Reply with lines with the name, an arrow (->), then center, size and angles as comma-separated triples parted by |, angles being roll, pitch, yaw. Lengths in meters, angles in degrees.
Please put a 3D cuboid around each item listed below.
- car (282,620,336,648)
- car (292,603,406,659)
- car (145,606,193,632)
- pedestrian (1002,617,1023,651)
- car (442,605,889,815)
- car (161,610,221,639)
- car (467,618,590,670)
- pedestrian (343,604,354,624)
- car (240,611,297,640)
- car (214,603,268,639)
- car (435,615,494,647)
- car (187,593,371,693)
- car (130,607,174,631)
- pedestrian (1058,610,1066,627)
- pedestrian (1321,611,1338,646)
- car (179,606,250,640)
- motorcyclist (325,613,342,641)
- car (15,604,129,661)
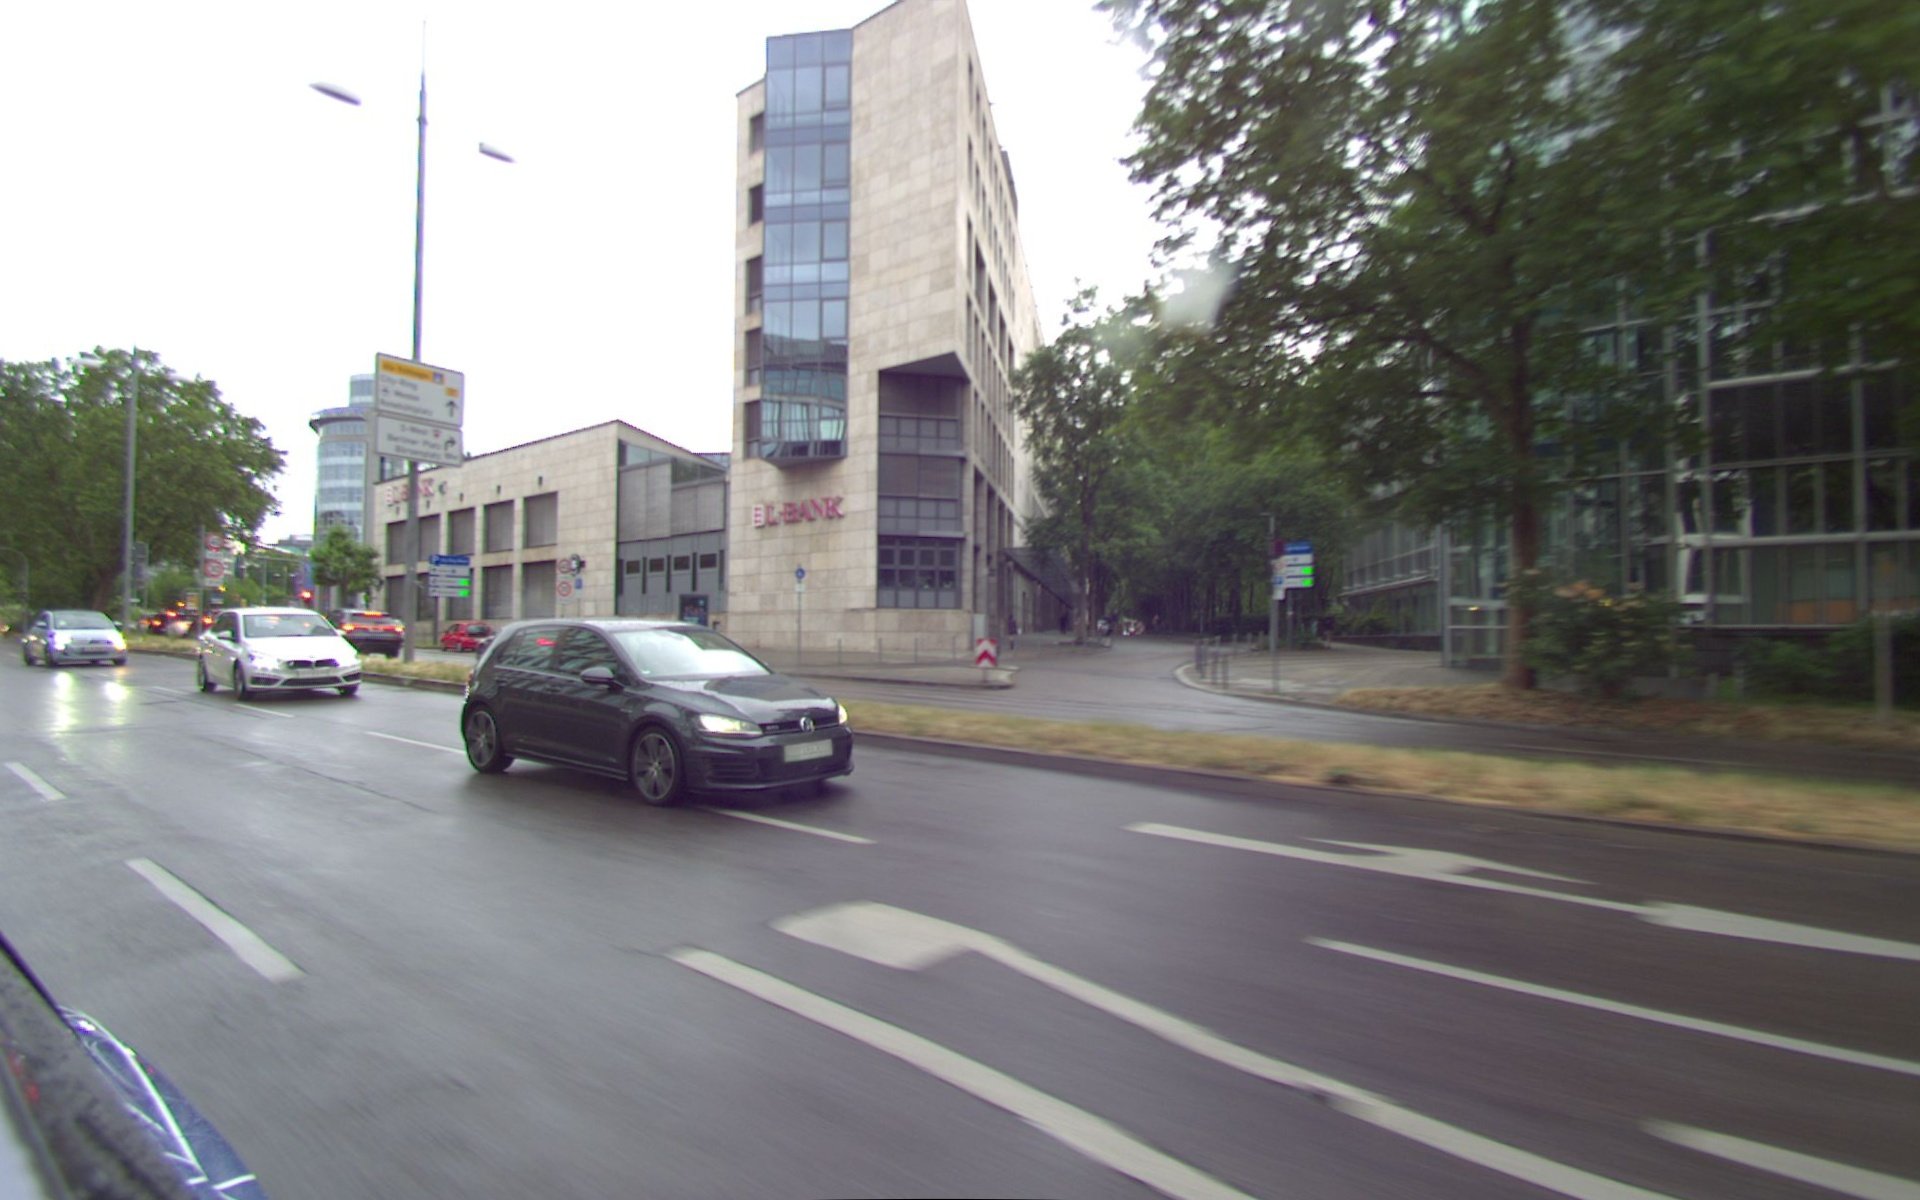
car -> -38.733, 1.996, 60.153 | 4.642, 1.544, 1.707 | 0, -1, 45
car -> -20.268, 0.983, 33.490 | 4.678, 1.693, 1.854 | 0, -1, 41
car -> -45.207, 1.058, 57.808 | 1.727, 1.375, 3.947 | 2, -1, -44
pedestrian -> 2.441, 1.570, 46.978 | 0.815, 1.582, 0.664 | -1, -2, 19
car -> -2.749, 0.795, 9.032 | 4.117, 1.463, 1.767 | -1, -1, 38
car -> -39.802, 1.256, 52.364 | 4.315, 1.453, 1.839 | -1, -2, 44
car -> -13.680, 1.331, 31.936 | 4.757, 1.449, 1.673 | 0, -1, 41
pedestrian -> -58.613, 1.328, 96.991 | 1.125, 1.939, 0.582 | -1, -1, 41
car -> -37.408, 1.347, 54.739 | 4.397, 1.443, 1.707 | 0, -1, 45
car -> -42.522, 1.205, 59.777 | 1.809, 2.017, 5.108 | 2, -1, -44
car -> -24.166, 1.504, 49.274 | 1.574, 1.426, 3.403 | 2, -1, -44
car -> -12.420, 0.711, 18.369 | 3.998, 1.608, 1.758 | 0, -1, 41
car -> -50.190, 1.184, 62.852 | 1.726, 1.375, 4.135 | 2, -1, -44
pedestrian -> 9.312, 1.680, 92.323 | 0.695, 1.582, 0.540 | -1, -2, 11
pedestrian -> 17.783, 1.383, 48.754 | 0.738, 1.643, 0.653 | -1, -2, 19
car -> -34.318, 1.058, 46.526 | 4.580, 1.448, 1.682 | 0, -1, 42
motorcyclist -> -35.262, 1.511, 56.945 | 0.973, 1.541, 0.514 | -2, -2, 42
car -> -24.545, 0.858, 27.958 | 3.486, 1.452, 1.594 | 0, 1, 36
